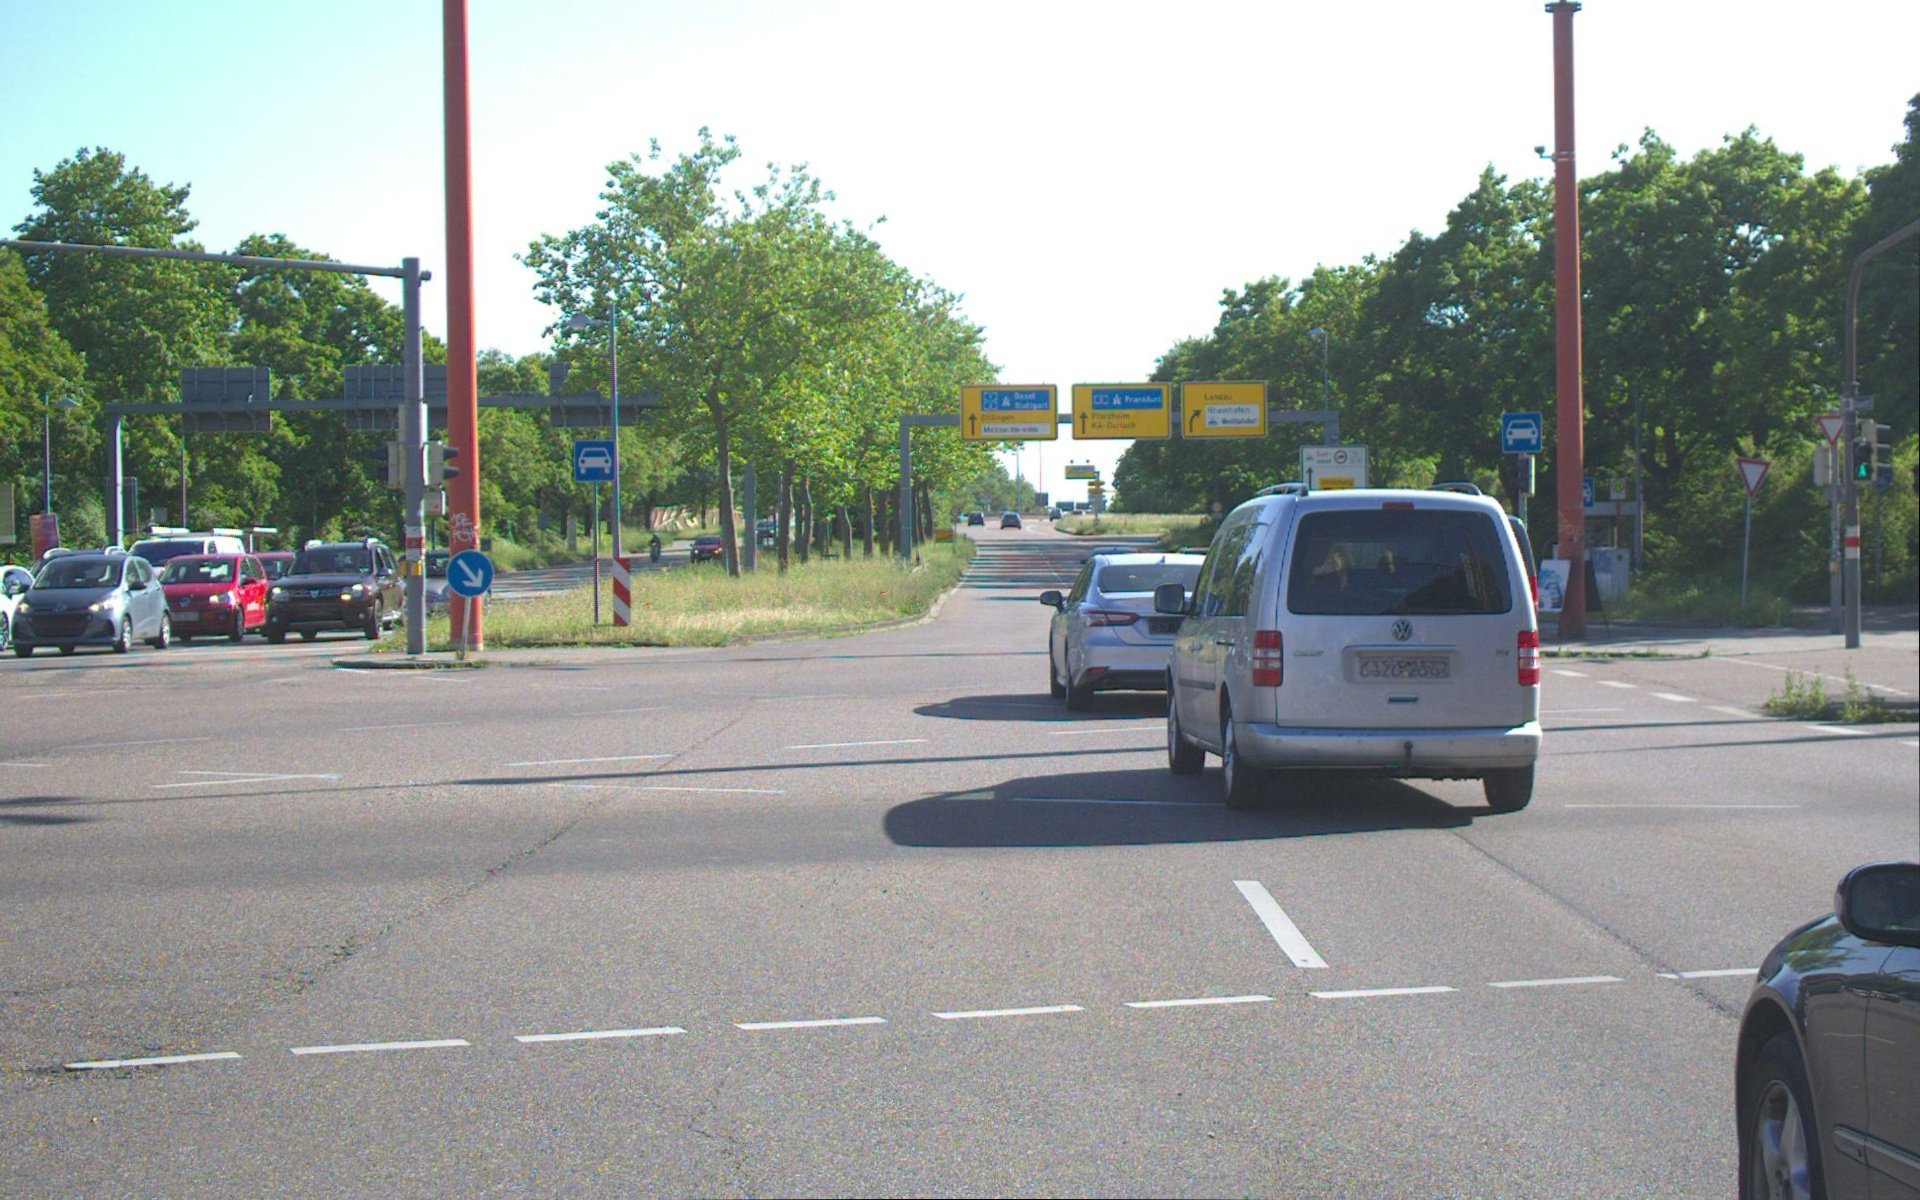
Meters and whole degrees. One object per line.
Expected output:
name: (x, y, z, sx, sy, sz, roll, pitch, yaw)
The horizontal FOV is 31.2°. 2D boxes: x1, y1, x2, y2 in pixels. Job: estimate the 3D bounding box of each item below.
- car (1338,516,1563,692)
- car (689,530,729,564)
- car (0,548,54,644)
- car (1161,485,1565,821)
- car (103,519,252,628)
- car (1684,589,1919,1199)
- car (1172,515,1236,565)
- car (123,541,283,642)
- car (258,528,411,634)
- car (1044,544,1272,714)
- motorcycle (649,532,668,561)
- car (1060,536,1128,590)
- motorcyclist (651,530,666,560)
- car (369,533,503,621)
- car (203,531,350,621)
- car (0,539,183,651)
car: (5.503, -0.006, 39.174, 1.804, 1.845, 5.103, -1, 1, 0)
car: (-13.821, -2.923, 189.196, 1.915, 1.840, 3.961, -1, 1, 0)
car: (-16.529, -0.057, 57.278, 1.901, 1.549, 4.000, -2, 1, -2)
car: (2.321, 0.266, 20.948, 1.804, 1.815, 4.587, 0, 1, -1)
car: (-16.066, -0.575, 70.826, 1.961, 2.147, 5.082, -1, 1, -1)
car: (2.371, 0.741, 4.696, 1.713, 1.449, 4.198, -1, 1, -2)
car: (8.278, -2.012, 116.708, 1.764, 1.630, 4.298, 1, 1, -1)
car: (-12.864, -0.165, 58.625, 1.875, 1.547, 4.000, -4, 1, -2)
car: (-10.210, -0.334, 56.363, 1.793, 1.620, 4.144, -2, 1, -1)
car: (1.818, 0.234, 32.919, 1.804, 1.488, 4.682, 1, 1, -1)
motorcycle: (-17.424, -3.088, 198.588, 0.759, 1.604, 2.867, 1, 1, 1)
car: (3.619, -1.007, 93.642, 1.764, 1.436, 4.295, 1, 1, 1)
motorcyclist: (-17.408, -3.169, 198.583, 0.772, 1.732, 0.916, 1, 0, 0)
car: (-9.687, -0.451, 63.842, 1.885, 1.538, 4.000, -2, 1, -1)
car: (-12.803, -0.461, 64.622, 1.901, 1.624, 4.000, 0, 1, 1)
car: (-13.215, -0.105, 52.287, 1.874, 1.545, 4.028, -2, 1, -1)
